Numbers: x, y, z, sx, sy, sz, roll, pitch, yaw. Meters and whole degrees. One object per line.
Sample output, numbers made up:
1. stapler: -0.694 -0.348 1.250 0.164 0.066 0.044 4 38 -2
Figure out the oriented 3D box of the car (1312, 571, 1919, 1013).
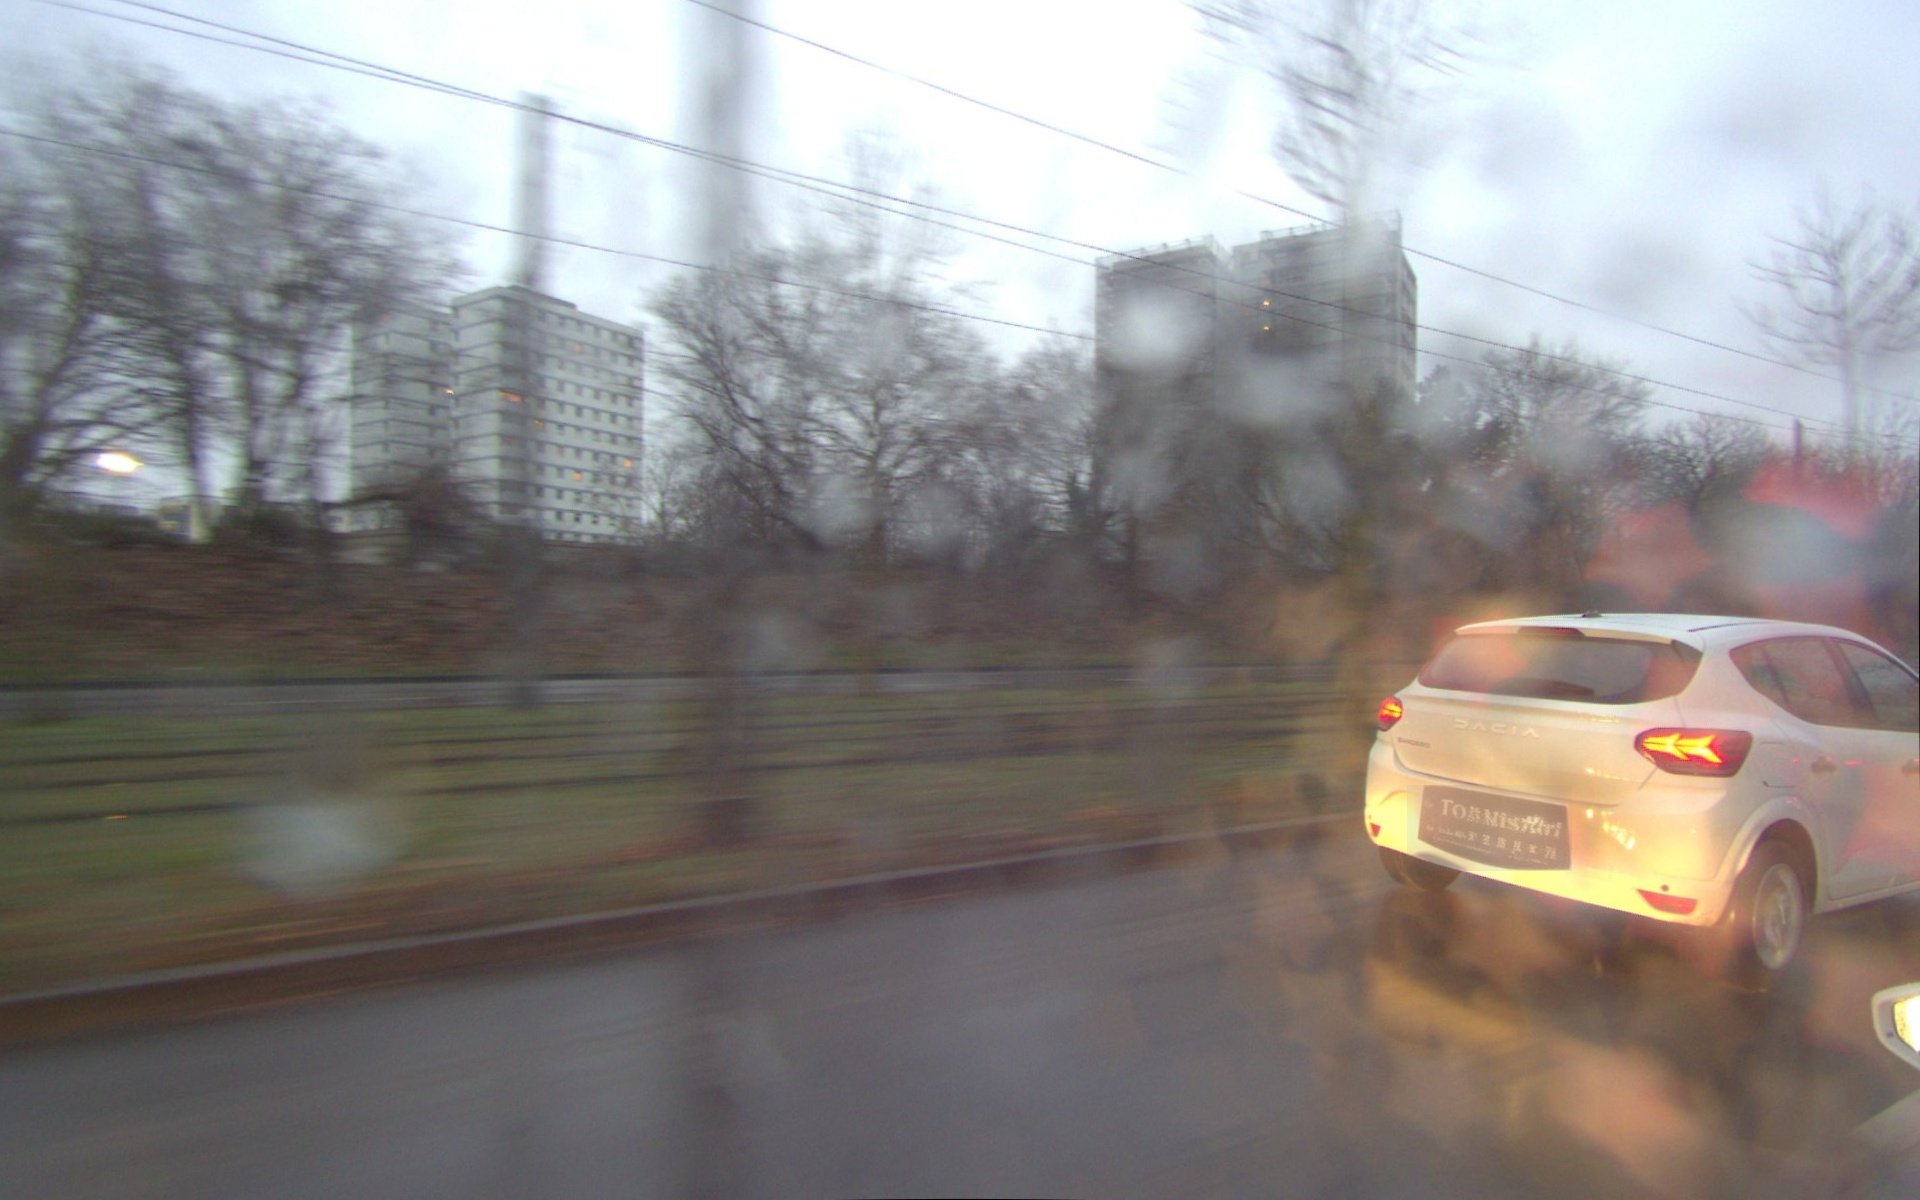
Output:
1. car: 3.959 0.721 5.234 4.083 1.545 1.702 1 -1 -28
